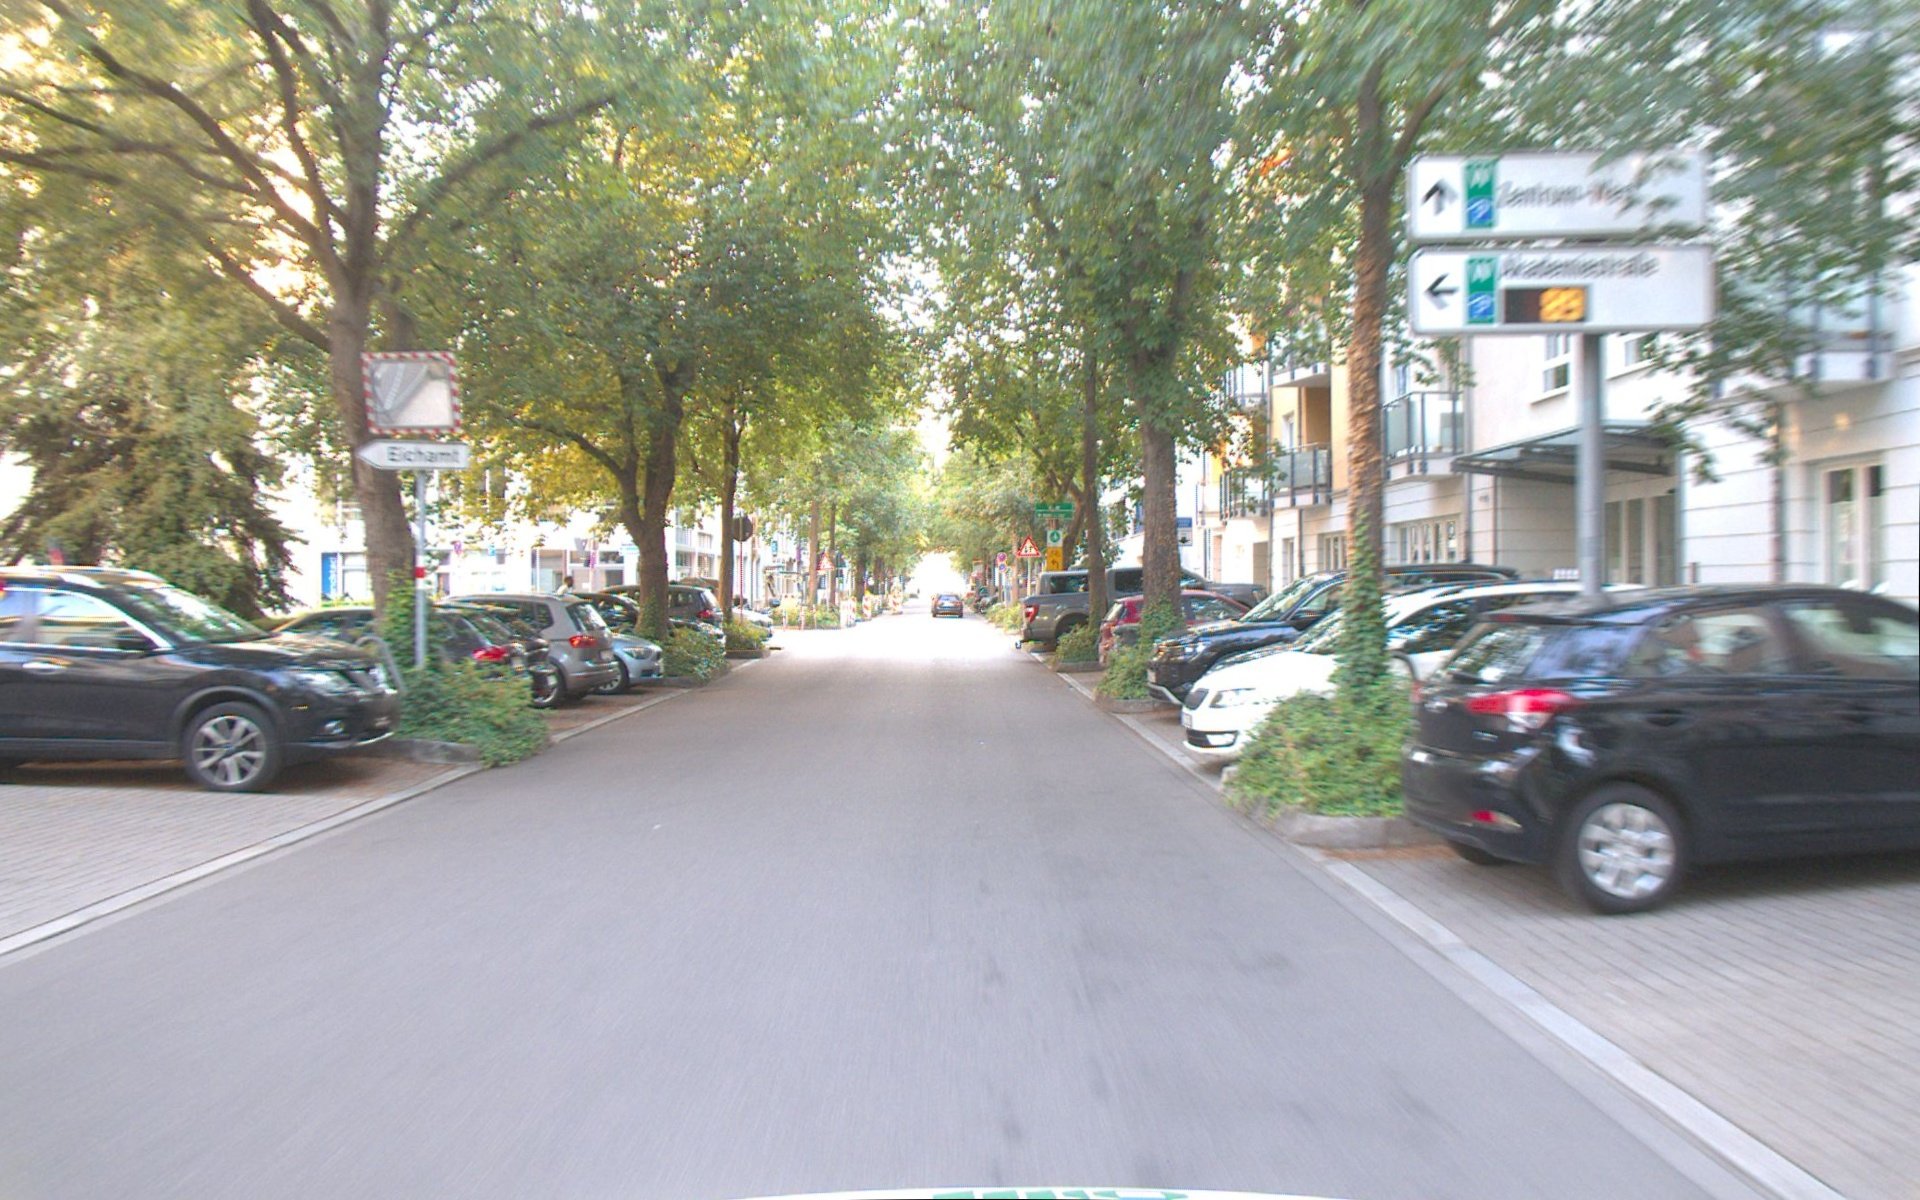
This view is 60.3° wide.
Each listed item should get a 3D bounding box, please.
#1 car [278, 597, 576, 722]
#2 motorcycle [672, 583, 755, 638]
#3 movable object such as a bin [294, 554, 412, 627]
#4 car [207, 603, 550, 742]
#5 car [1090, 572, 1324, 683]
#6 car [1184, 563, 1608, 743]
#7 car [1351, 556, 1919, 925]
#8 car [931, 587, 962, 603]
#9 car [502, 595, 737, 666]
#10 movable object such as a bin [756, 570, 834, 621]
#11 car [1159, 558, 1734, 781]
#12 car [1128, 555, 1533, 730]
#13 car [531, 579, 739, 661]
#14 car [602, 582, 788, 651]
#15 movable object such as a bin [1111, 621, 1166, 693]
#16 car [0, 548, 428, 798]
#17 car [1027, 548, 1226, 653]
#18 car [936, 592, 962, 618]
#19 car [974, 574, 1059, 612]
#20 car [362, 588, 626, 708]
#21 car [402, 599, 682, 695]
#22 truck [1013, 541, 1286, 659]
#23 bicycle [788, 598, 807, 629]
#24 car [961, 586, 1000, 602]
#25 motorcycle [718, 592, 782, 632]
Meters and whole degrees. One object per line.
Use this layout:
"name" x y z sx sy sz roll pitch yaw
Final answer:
"car" -6.831 0.738 21.459 3.336 1.533 1.663 0 0 -3
"motorcycle" -6.847 0.288 45.963 2.171 1.520 0.691 0 0 1
"movable object such as a bin" -22.765 -0.369 62.014 4.015 2.680 1.801 0 0 24
"car" -6.512 0.785 18.794 3.336 1.467 1.593 0 0 -3
"car" 4.165 0.469 28.255 3.592 1.575 1.779 -4 -1 -3
"car" 4.427 0.519 17.221 3.905 1.552 1.727 -3 0 1
"car" 4.286 0.594 8.649 3.910 1.500 1.912 -4 0 -5
"car" -1.668 -0.675 212.778 3.904 2.049 2.000 -1 0 1
"car" -7.162 0.629 35.198 4.621 1.449 2.070 0 0 -3
"movable object such as a bin" -7.939 -0.231 80.052 3.592 2.373 2.582 -1 0 -3
"car" 4.144 0.565 14.567 4.480 1.579 1.772 -3 0 -2
"car" 4.380 0.471 19.894 4.303 1.733 1.892 -3 0 -9
"car" -7.284 0.436 37.419 4.308 1.714 2.063 1 0 -3
"car" -6.736 0.419 42.399 4.406 1.609 2.055 1 0 0
"movable object such as a bin" 2.742 0.867 25.402 0.759 1.086 0.589 0 0 -2
"car" -6.926 0.558 13.785 4.328 1.925 2.000 0 0 -2
"car" 4.027 0.008 40.521 4.527 2.170 2.036 -4 0 -1
"car" -0.618 0.290 94.420 1.470 1.441 3.713 0 0 -1
"car" 3.305 -0.420 96.763 4.870 2.124 1.738 -1 0 -1
"car" -6.634 0.659 23.815 3.336 1.637 1.760 0 0 -3
"car" -6.546 0.725 26.232 4.018 1.403 1.746 1 0 -3
"truck" 4.260 -0.011 37.954 5.883 2.170 2.260 -5 0 -1
"bicycle" -6.348 0.527 64.659 0.589 1.137 1.799 -1 1 -1
"car" 2.085 -0.622 168.748 3.908 1.625 1.998 0 0 -4
"motorcycle" -7.821 0.432 61.737 2.358 1.466 0.790 -1 0 -41
